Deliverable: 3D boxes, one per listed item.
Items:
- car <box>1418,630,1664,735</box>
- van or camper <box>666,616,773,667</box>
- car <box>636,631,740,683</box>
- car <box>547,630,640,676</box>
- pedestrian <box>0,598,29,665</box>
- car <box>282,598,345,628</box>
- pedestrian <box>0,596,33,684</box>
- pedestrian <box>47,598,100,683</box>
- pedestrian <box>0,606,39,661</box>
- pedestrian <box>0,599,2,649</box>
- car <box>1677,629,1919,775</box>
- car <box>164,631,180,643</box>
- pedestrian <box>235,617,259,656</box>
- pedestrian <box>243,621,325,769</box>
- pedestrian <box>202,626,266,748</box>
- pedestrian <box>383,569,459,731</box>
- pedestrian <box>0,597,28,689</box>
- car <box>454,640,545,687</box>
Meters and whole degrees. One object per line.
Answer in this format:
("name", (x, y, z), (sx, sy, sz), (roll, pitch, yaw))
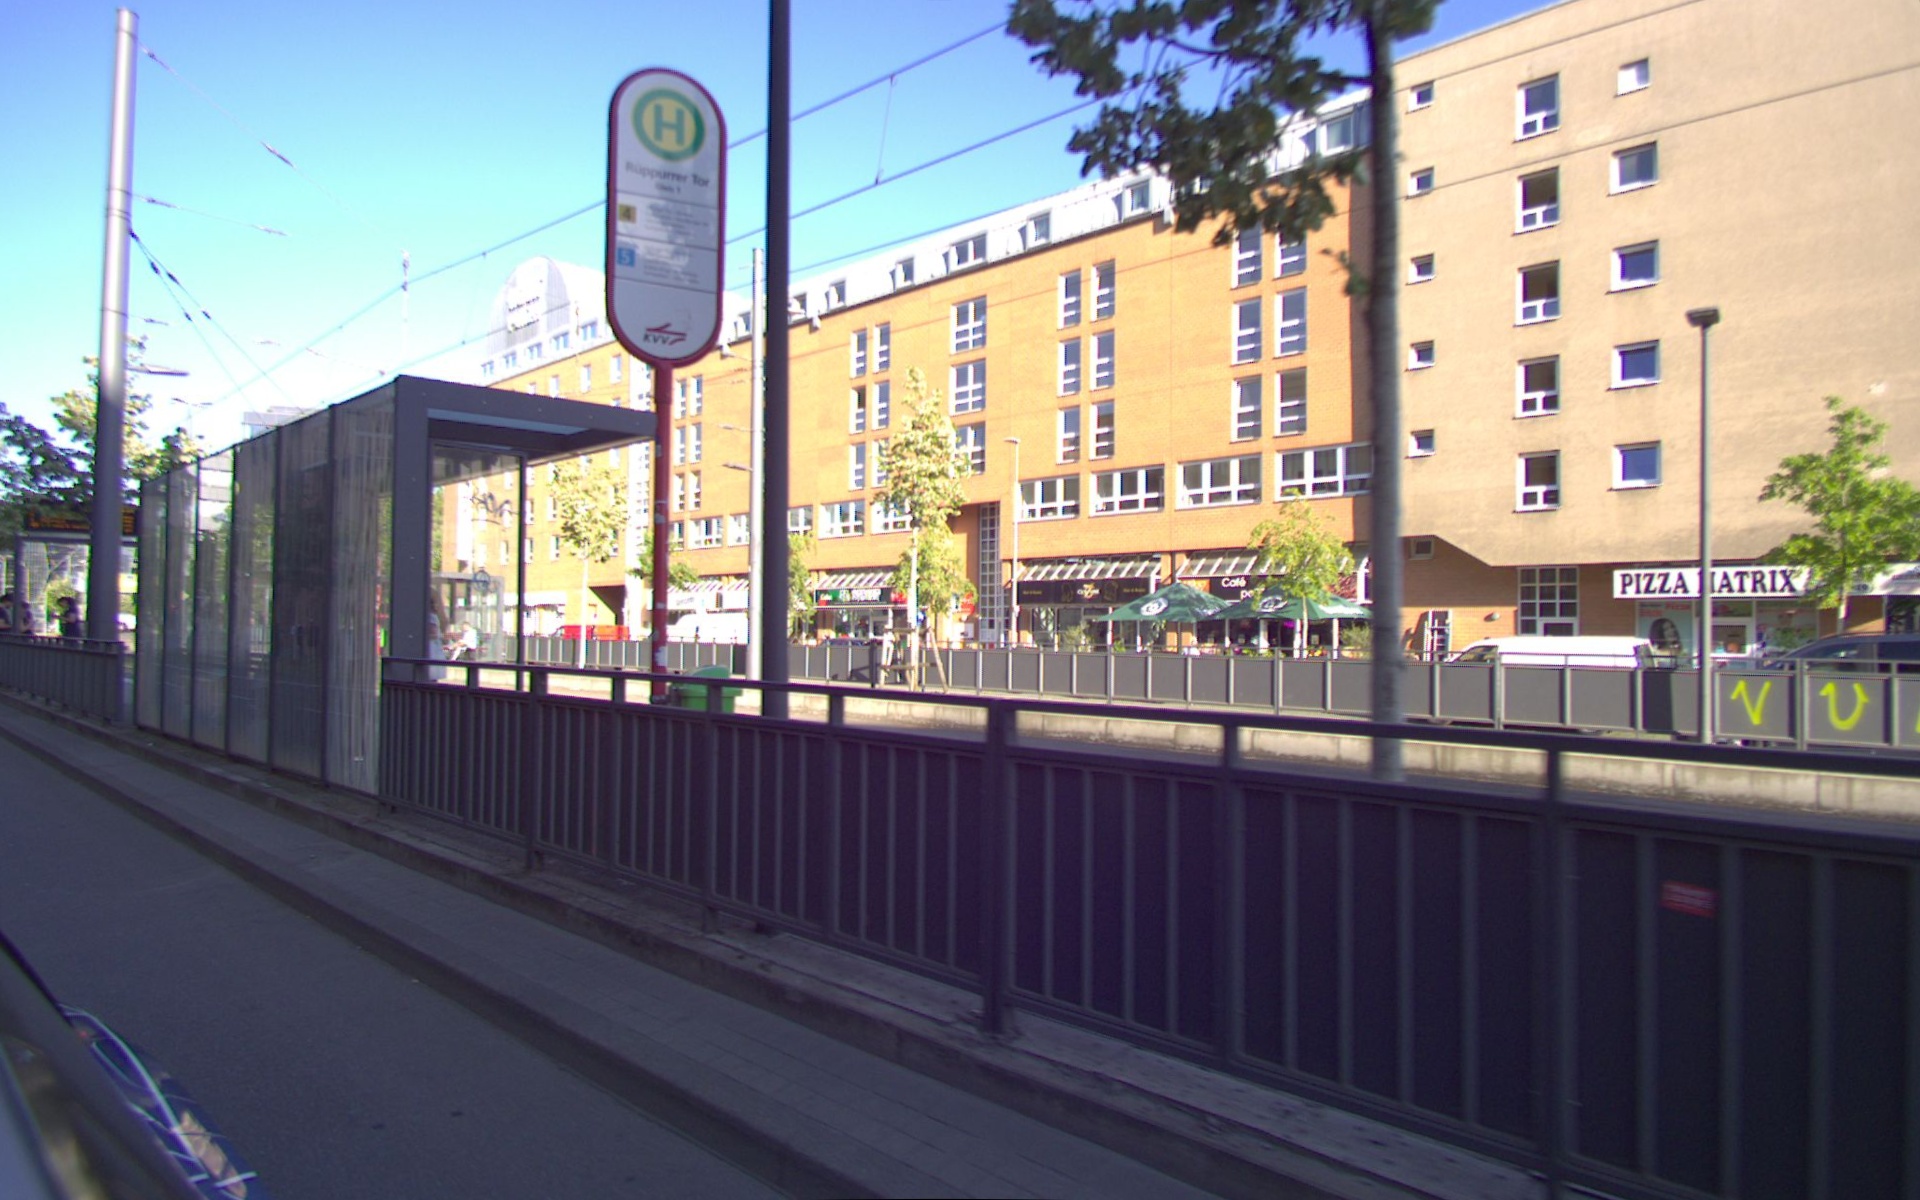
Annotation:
("car", (12.386, 1.695, 21.756), (1.970, 2.029, 4.151), (2, -4, -43))
("van or camper", (-11.065, 1.950, 46.292), (5.614, 2.186, 1.972), (-4, -5, 42))
("car", (-10.452, 2.175, 38.774), (4.316, 1.881, 1.865), (-3, -4, 43))
("car", (-15.897, 2.298, 43.848), (4.312, 1.881, 1.867), (-3, -4, 40))
("pedestrian", (-24.387, 0.803, 25.828), (0.647, 1.685, 0.674), (1, -2, -16))
("car", (-36.749, 0.787, 57.497), (3.995, 1.544, 1.867), (-2, -4, 39))
("pedestrian", (-19.246, 0.811, 20.539), (0.651, 1.745, 0.499), (-1, -3, 40))
("pedestrian", (-18.733, 0.851, 21.393), (0.651, 1.745, 0.712), (-1, -3, 40))
("pedestrian", (-26.109, 0.938, 28.091), (0.673, 1.494, 0.830), (1, -2, -37))
("pedestrian", (-25.202, 0.795, 25.673), (0.875, 1.685, 1.099), (1, -2, -18))
("car", (12.173, 1.234, 12.612), (1.969, 1.730, 4.948), (2, -3, -41))
("car", (-136.959, 6.410, 175.945), (1.584, 2.029, 3.898), (2, -2, -29))
("pedestrian", (-31.249, 1.608, 44.359), (0.668, 1.696, 0.577), (1, -2, -16))
("pedestrian", (-5.685, 0.776, 8.511), (0.428, 1.199, 0.403), (-1, -2, 28))
("pedestrian", (-7.396, 0.867, 10.313), (0.429, 1.199, 0.402), (-1, -2, 37))
("pedestrian", (-4.784, 0.435, 8.985), (0.406, 1.396, 0.425), (-1, -2, 29))
("pedestrian", (-17.881, 0.798, 18.958), (0.651, 1.691, 0.499), (-1, -3, 40))
("car", (-19.672, 2.672, 43.157), (4.313, 1.881, 1.866), (-3, -4, 41))
